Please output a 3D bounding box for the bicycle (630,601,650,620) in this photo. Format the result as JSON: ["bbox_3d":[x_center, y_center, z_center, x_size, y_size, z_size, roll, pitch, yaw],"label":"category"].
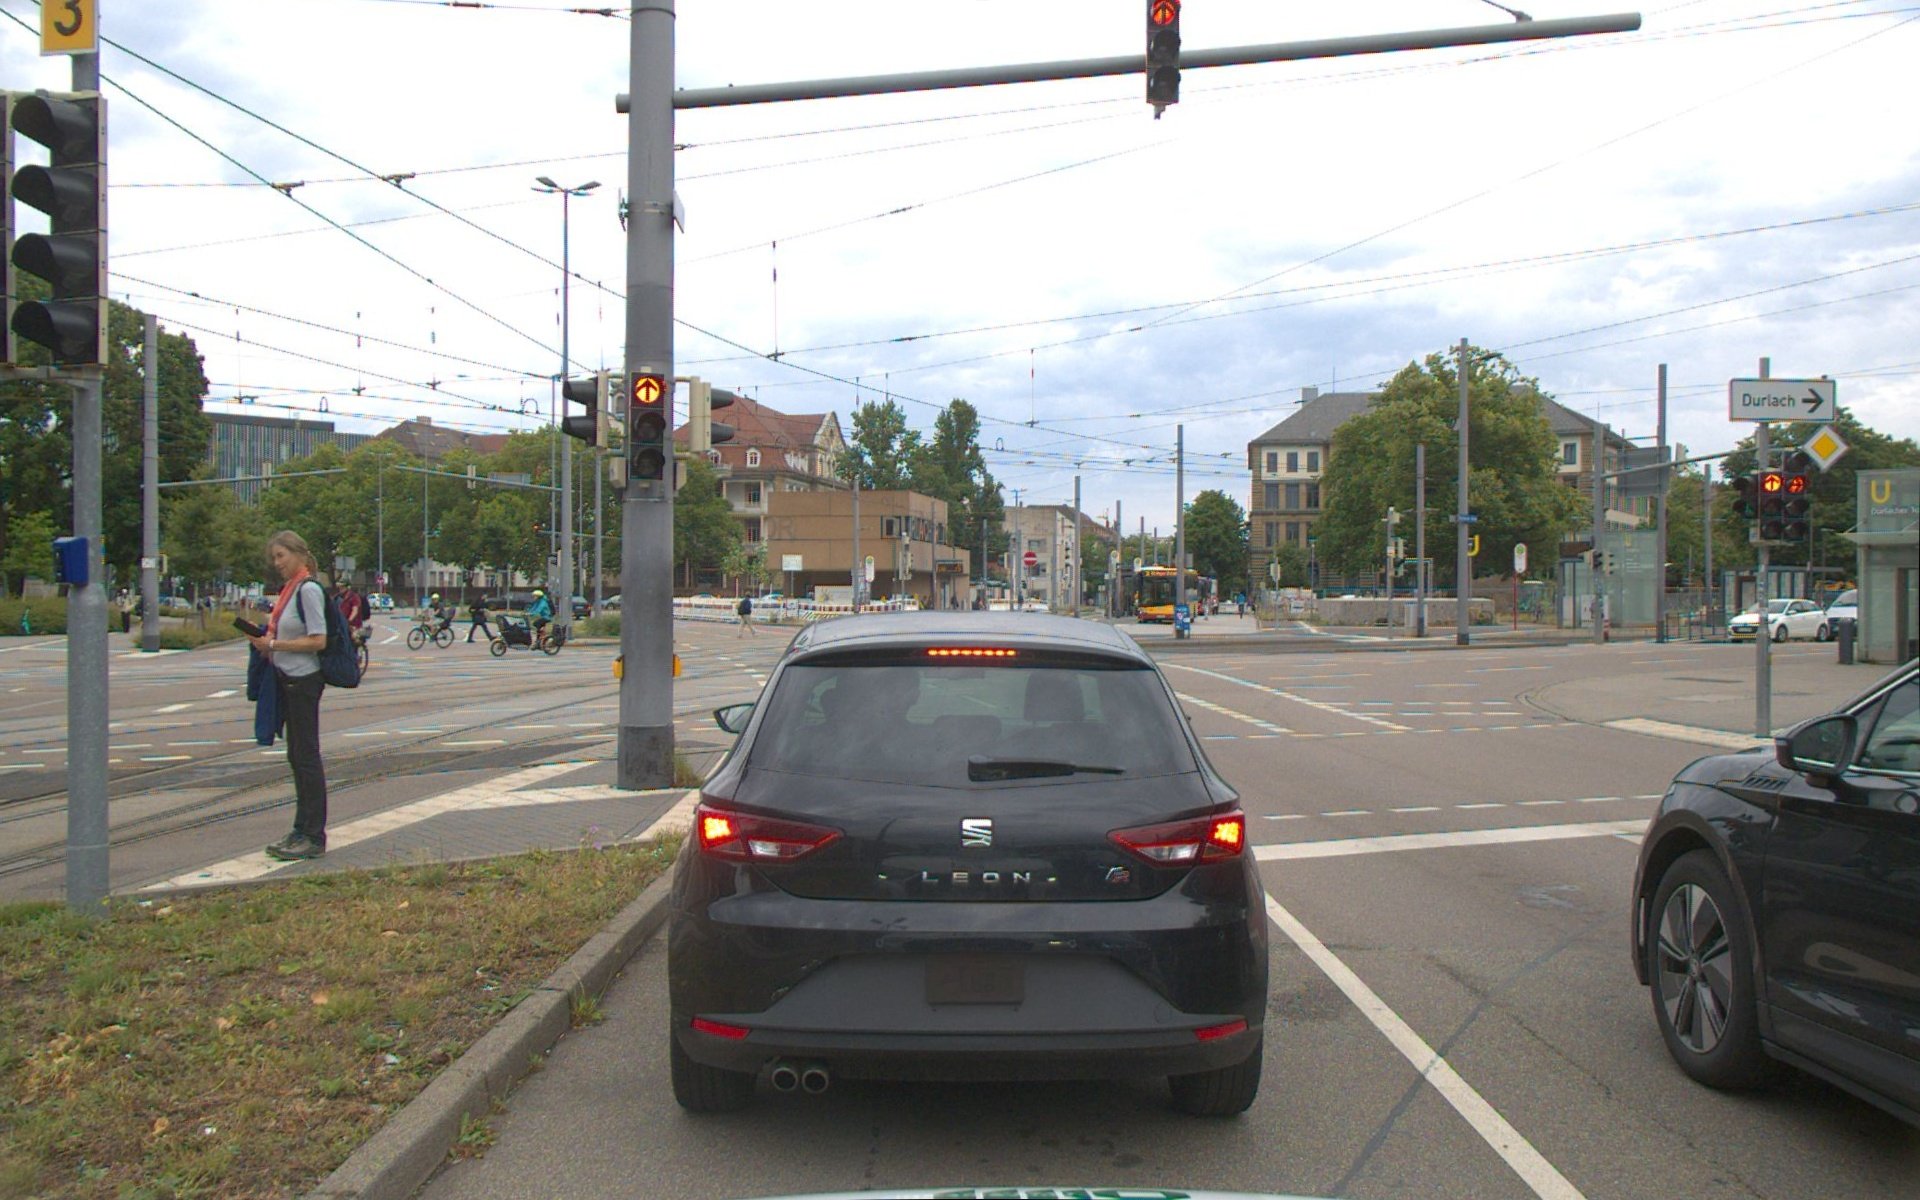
[{"bbox_3d":[-21.070,0.693,108.790,0.879,1.199,2.286,0,0,-22],"label":"bicycle"}]

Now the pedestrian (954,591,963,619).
[{"bbox_3d":[-0.089,0.337,113.604,0.608,1.951,0.711,0,0,2],"label":"pedestrian"}]

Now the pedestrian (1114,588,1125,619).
[{"bbox_3d":[10.187,0.201,105.644,0.608,1.951,0.711,0,0,2],"label":"pedestrian"}]

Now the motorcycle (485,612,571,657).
[{"bbox_3d":[-11.612,0.921,44.491,2.115,1.159,0.735,0,0,-34],"label":"motorcycle"}]

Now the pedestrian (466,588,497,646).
[{"bbox_3d":[-17.180,0.594,59.378,1.006,2.049,0.841,0,0,-20],"label":"pedestrian"}]

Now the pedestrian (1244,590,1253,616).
[{"bbox_3d":[23.217,0.258,133.051,0.648,2.049,0.691,0,0,-1],"label":"pedestrian"}]

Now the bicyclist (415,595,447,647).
[{"bbox_3d":[-17.372,0.690,54.298,0.848,1.702,0.645,0,0,-39],"label":"bicyclist"}]

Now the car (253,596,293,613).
[{"bbox_3d":[-59.222,0.382,142.566,3.930,1.489,1.770,0,0,43],"label":"car"}]

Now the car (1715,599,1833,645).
[{"bbox_3d":[27.483,0.734,55.816,3.948,1.490,1.756,0,-1,-32],"label":"car"}]

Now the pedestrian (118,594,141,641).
[{"bbox_3d":[-36.602,0.777,72.876,0.787,2.016,0.870,1,-2,-35],"label":"pedestrian"}]

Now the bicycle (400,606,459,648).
[{"bbox_3d":[-17.406,0.875,54.273,1.718,1.345,0.636,0,0,-39],"label":"bicycle"}]

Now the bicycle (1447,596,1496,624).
[{"bbox_3d":[25.532,0.497,82.627,2.214,1.354,0.707,-1,-1,6],"label":"bicycle"}]

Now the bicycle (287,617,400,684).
[{"bbox_3d":[-11.688,0.931,31.428,0.760,1.205,2.030,0,0,27],"label":"bicycle"}]

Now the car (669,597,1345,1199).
[{"bbox_3d":[-0.020,0.735,5.971,1.671,1.474,3.808,0,0,-5],"label":"car"}]

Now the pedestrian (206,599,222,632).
[{"bbox_3d":[-46.676,0.964,103.491,0.865,2.016,0.791,0,-1,-19],"label":"pedestrian"}]

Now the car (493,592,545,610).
[{"bbox_3d":[-37.090,0.091,139.148,3.908,1.489,1.780,0,0,-4],"label":"car"}]

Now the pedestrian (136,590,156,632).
[{"bbox_3d":[-39.963,0.539,81.186,0.787,2.016,0.870,1,-2,-35],"label":"pedestrian"}]

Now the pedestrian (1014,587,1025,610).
[{"bbox_3d":[4.955,-0.119,137.624,0.609,1.952,0.710,-1,-1,25],"label":"pedestrian"}]

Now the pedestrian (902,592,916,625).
[{"bbox_3d":[-2.982,0.493,96.512,0.693,1.951,0.624,0,0,7],"label":"pedestrian"}]

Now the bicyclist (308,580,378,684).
[{"bbox_3d":[-11.710,0.591,31.388,0.760,1.931,0.996,0,0,28],"label":"bicyclist"}]

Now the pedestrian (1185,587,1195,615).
[{"bbox_3d":[16.798,0.083,120.921,0.675,2.049,0.664,0,0,14],"label":"pedestrian"}]

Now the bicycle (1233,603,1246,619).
[{"bbox_3d":[20.376,0.798,120.549,0.847,1.124,2.304,0,0,11],"label":"bicycle"}]

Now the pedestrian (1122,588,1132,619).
[{"bbox_3d":[10.559,0.197,104.665,0.608,1.951,0.699,0,0,9],"label":"pedestrian"}]

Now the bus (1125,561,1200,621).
[{"bbox_3d":[11.564,-0.521,93.625,2.897,3.178,11.548,0,0,14],"label":"bus"}]

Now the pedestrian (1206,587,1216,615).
[{"bbox_3d":[18.479,0.086,121.720,0.648,2.049,0.691,0,0,-1],"label":"pedestrian"}]

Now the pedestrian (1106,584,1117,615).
[{"bbox_3d":[9.549,-0.007,104.246,0.608,1.951,0.699,0,0,9],"label":"pedestrian"}]

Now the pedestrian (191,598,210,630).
[{"bbox_3d":[-47.815,0.871,104.147,0.861,2.016,0.795,0,-1,-6],"label":"pedestrian"}]

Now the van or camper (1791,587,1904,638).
[{"bbox_3d":[32.121,0.471,59.831,4.257,1.773,1.974,0,-1,-36],"label":"van or camper"}]

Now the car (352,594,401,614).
[{"bbox_3d":[-52.454,0.334,148.684,3.903,1.803,1.717,0,0,18],"label":"car"}]

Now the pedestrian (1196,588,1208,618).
[{"bbox_3d":[15.543,0.216,106.213,0.583,1.917,0.531,0,0,26],"label":"pedestrian"}]

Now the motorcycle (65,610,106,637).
[{"bbox_3d":[-36.971,0.981,69.940,0.499,1.130,1.746,0,0,12],"label":"motorcycle"}]

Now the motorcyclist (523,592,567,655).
[{"bbox_3d":[-11.243,0.623,44.756,0.968,1.678,0.741,0,-1,-34],"label":"motorcyclist"}]

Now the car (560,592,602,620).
[{"bbox_3d":[-23.939,0.384,104.383,1.966,1.713,3.973,0,-1,-22],"label":"car"}]

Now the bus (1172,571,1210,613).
[{"bbox_3d":[19.170,-0.654,136.952,2.597,3.340,11.004,0,0,10],"label":"bus"}]

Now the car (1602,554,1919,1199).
[{"bbox_3d":[3.266,0.703,3.763,1.741,1.625,4.508,0,0,-2],"label":"car"}]

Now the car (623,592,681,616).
[{"bbox_3d":[-22.859,0.323,122.669,3.905,1.713,2.000,0,-1,0],"label":"car"}]

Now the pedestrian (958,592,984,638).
[{"bbox_3d":[0.479,0.652,72.370,0.687,1.968,1.026,0,0,38],"label":"pedestrian"}]

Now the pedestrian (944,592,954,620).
[{"bbox_3d":[-0.762,0.405,113.693,0.608,1.951,0.711,0,0,2],"label":"pedestrian"}]

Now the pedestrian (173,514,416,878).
[{"bbox_3d":[-3.802,0.517,9.477,1.096,1.940,0.724,1,-1,-44],"label":"pedestrian"}]

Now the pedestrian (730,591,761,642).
[{"bbox_3d":[-8.348,0.638,64.429,1.015,1.968,0.695,0,0,-26],"label":"pedestrian"}]

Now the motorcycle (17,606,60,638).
[{"bbox_3d":[-37.890,0.879,67.998,0.503,1.290,1.463,0,0,43],"label":"motorcycle"}]

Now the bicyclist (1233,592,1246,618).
[{"bbox_3d":[20.372,0.377,120.546,0.852,1.884,1.048,0,0,12],"label":"bicyclist"}]

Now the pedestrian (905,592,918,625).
[{"bbox_3d":[-2.865,0.507,97.310,0.693,1.951,0.624,0,0,7],"label":"pedestrian"}]
